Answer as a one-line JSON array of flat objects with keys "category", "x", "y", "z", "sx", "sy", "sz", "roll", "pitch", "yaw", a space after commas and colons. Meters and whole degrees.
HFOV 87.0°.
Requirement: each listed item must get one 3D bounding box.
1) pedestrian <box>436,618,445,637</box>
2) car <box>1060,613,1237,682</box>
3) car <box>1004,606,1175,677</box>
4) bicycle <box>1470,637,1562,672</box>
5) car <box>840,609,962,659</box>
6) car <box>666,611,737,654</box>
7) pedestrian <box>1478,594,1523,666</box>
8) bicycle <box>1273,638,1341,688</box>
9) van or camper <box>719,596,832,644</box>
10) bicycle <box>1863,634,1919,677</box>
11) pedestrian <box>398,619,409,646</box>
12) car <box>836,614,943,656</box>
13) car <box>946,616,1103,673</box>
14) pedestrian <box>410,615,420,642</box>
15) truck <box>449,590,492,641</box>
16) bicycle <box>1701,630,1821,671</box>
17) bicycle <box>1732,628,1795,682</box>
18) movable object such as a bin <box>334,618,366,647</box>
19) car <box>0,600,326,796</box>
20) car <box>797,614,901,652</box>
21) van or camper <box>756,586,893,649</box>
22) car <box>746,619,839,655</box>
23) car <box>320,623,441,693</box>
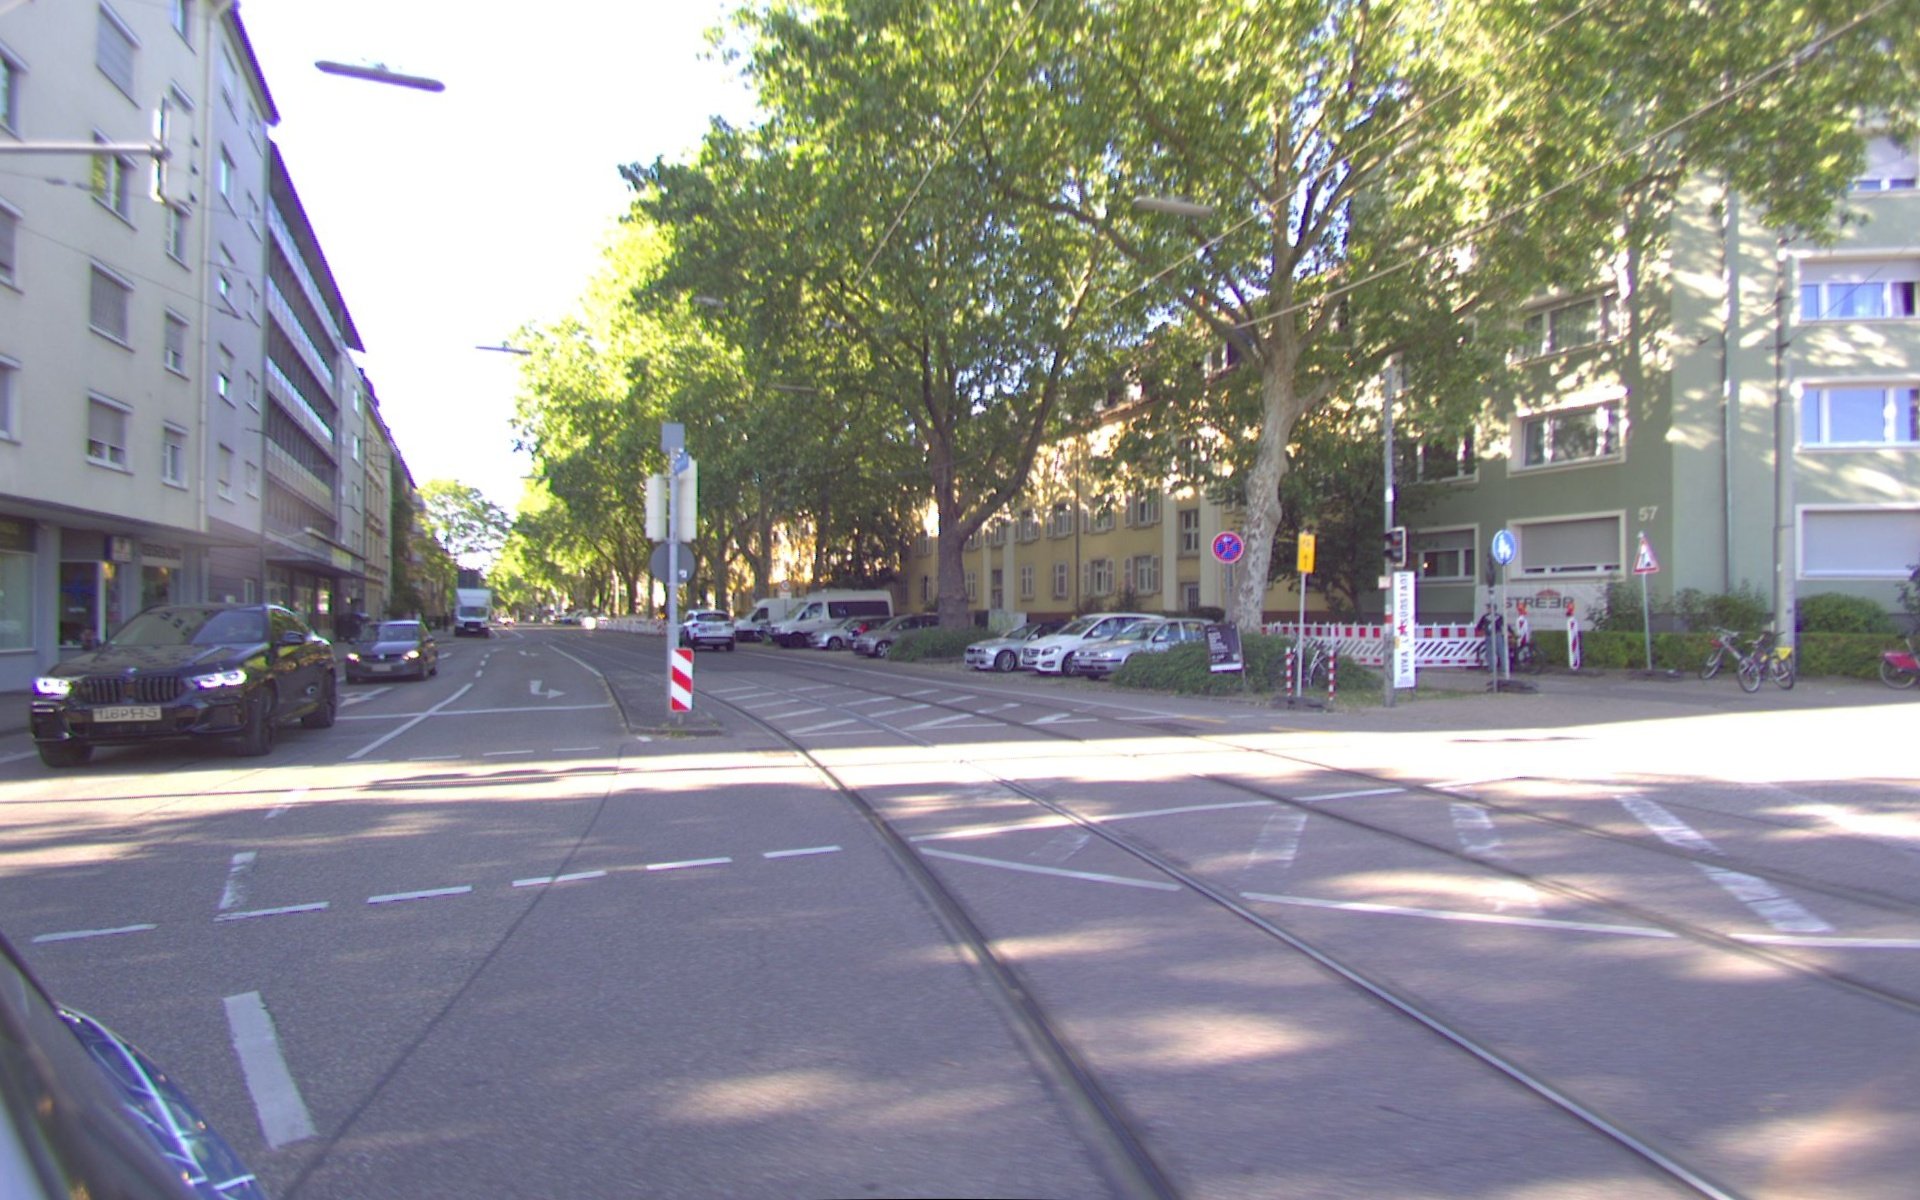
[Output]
[{"category": "pedestrian", "x": -39.815, "y": 2.116, "z": 77.559, "sx": 0.532, "sy": 1.456, "sz": 0.632, "roll": 0, "pitch": -1, "yaw": -23}, {"category": "car", "x": 4.532, "y": 1.075, "z": 24.200, "sx": 3.931, "sy": 1.428, "sz": 1.709, "roll": -2, "pitch": 0, "yaw": -29}, {"category": "car", "x": 3.381, "y": 1.042, "z": 26.476, "sx": 4.013, "sy": 1.624, "sz": 1.850, "roll": -2, "pitch": 0, "yaw": -22}, {"category": "bicycle", "x": 12.545, "y": 1.224, "z": 22.881, "sx": 1.779, "sy": 0.765, "sz": 0.353, "roll": -2, "pitch": -2, "yaw": 41}, {"category": "car", "x": -2.173, "y": 1.196, "z": 36.970, "sx": 4.013, "sy": 1.631, "sz": 1.850, "roll": -2, "pitch": 0, "yaw": -22}, {"category": "car", "x": -10.620, "y": 1.300, "z": 41.295, "sx": 1.965, "sy": 1.644, "sz": 4.645, "roll": 0, "pitch": -1, "yaw": -25}, {"category": "pedestrian", "x": 12.084, "y": 0.659, "z": 22.642, "sx": 0.742, "sy": 1.580, "sz": 0.594, "roll": -2, "pitch": -2, "yaw": 41}, {"category": "bicycle", "x": 6.719, "y": 1.198, "z": 19.561, "sx": 1.547, "sy": 0.895, "sz": 0.359, "roll": 0, "pitch": -2, "yaw": -34}, {"category": "van or camper", "x": -10.057, "y": 1.073, "z": 55.317, "sx": 5.667, "sy": 2.403, "sz": 2.163, "roll": -2, "pitch": 0, "yaw": -23}, {"category": "bicycle", "x": 17.552, "y": 1.008, "z": 18.396, "sx": 1.760, "sy": 0.765, "sz": 0.357, "roll": -1, "pitch": -1, "yaw": 9}, {"category": "pedestrian", "x": -35.739, "y": 2.097, "z": 65.011, "sx": 0.532, "sy": 1.735, "sz": 0.632, "roll": 0, "pitch": -1, "yaw": -23}, {"category": "car", "x": -2.754, "y": 1.327, "z": 39.550, "sx": 3.797, "sy": 1.457, "sz": 1.699, "roll": -2, "pitch": 0, "yaw": -22}, {"category": "car", "x": 1.828, "y": 1.214, "z": 28.727, "sx": 4.013, "sy": 1.379, "sz": 1.850, "roll": -2, "pitch": 0, "yaw": -22}, {"category": "pedestrian", "x": -34.153, "y": 1.785, "z": 63.425, "sx": 0.532, "sy": 1.685, "sz": 0.632, "roll": 0, "pitch": -1, "yaw": -23}, {"category": "truck", "x": -32.201, "y": 0.998, "z": 66.488, "sx": 2.304, "sy": 3.137, "sz": 5.229, "roll": -2, "pitch": 0, "yaw": -27}, {"category": "bicycle", "x": 15.621, "y": 0.979, "z": 19.776, "sx": 1.771, "sy": 0.765, "sz": 0.355, "roll": -2, "pitch": -1, "yaw": 26}, {"category": "bicycle", "x": 14.408, "y": 0.972, "z": 18.135, "sx": 1.750, "sy": 0.895, "sz": 0.359, "roll": 0, "pitch": -2, "yaw": -34}, {"category": "movable object such as a bin", "x": -30.560, "y": 1.632, "z": 50.709, "sx": 1.183, "sy": 1.421, "sz": 1.376, "roll": 0, "pitch": -1, "yaw": -23}, {"category": "car", "x": -8.964, "y": 0.930, "z": 11.889, "sx": 1.898, "sy": 1.765, "sz": 4.699, "roll": -2, "pitch": 0, "yaw": -24}, {"category": "car", "x": -4.871, "y": 1.415, "z": 44.387, "sx": 4.205, "sy": 1.457, "sz": 1.699, "roll": -2, "pitch": 0, "yaw": -22}, {"category": "van or camper", "x": -6.241, "y": 0.775, "z": 46.796, "sx": 5.833, "sy": 2.668, "sz": 2.163, "roll": -2, "pitch": 0, "yaw": -23}, {"category": "car", "x": -8.697, "y": 1.883, "z": 52.479, "sx": 4.465, "sy": 1.645, "sz": 1.699, "roll": -2, "pitch": 0, "yaw": -22}, {"category": "car", "x": -13.930, "y": 1.335, "z": 24.552, "sx": 1.898, "sy": 1.416, "sz": 3.952, "roll": -2, "pitch": 0, "yaw": -20}]
